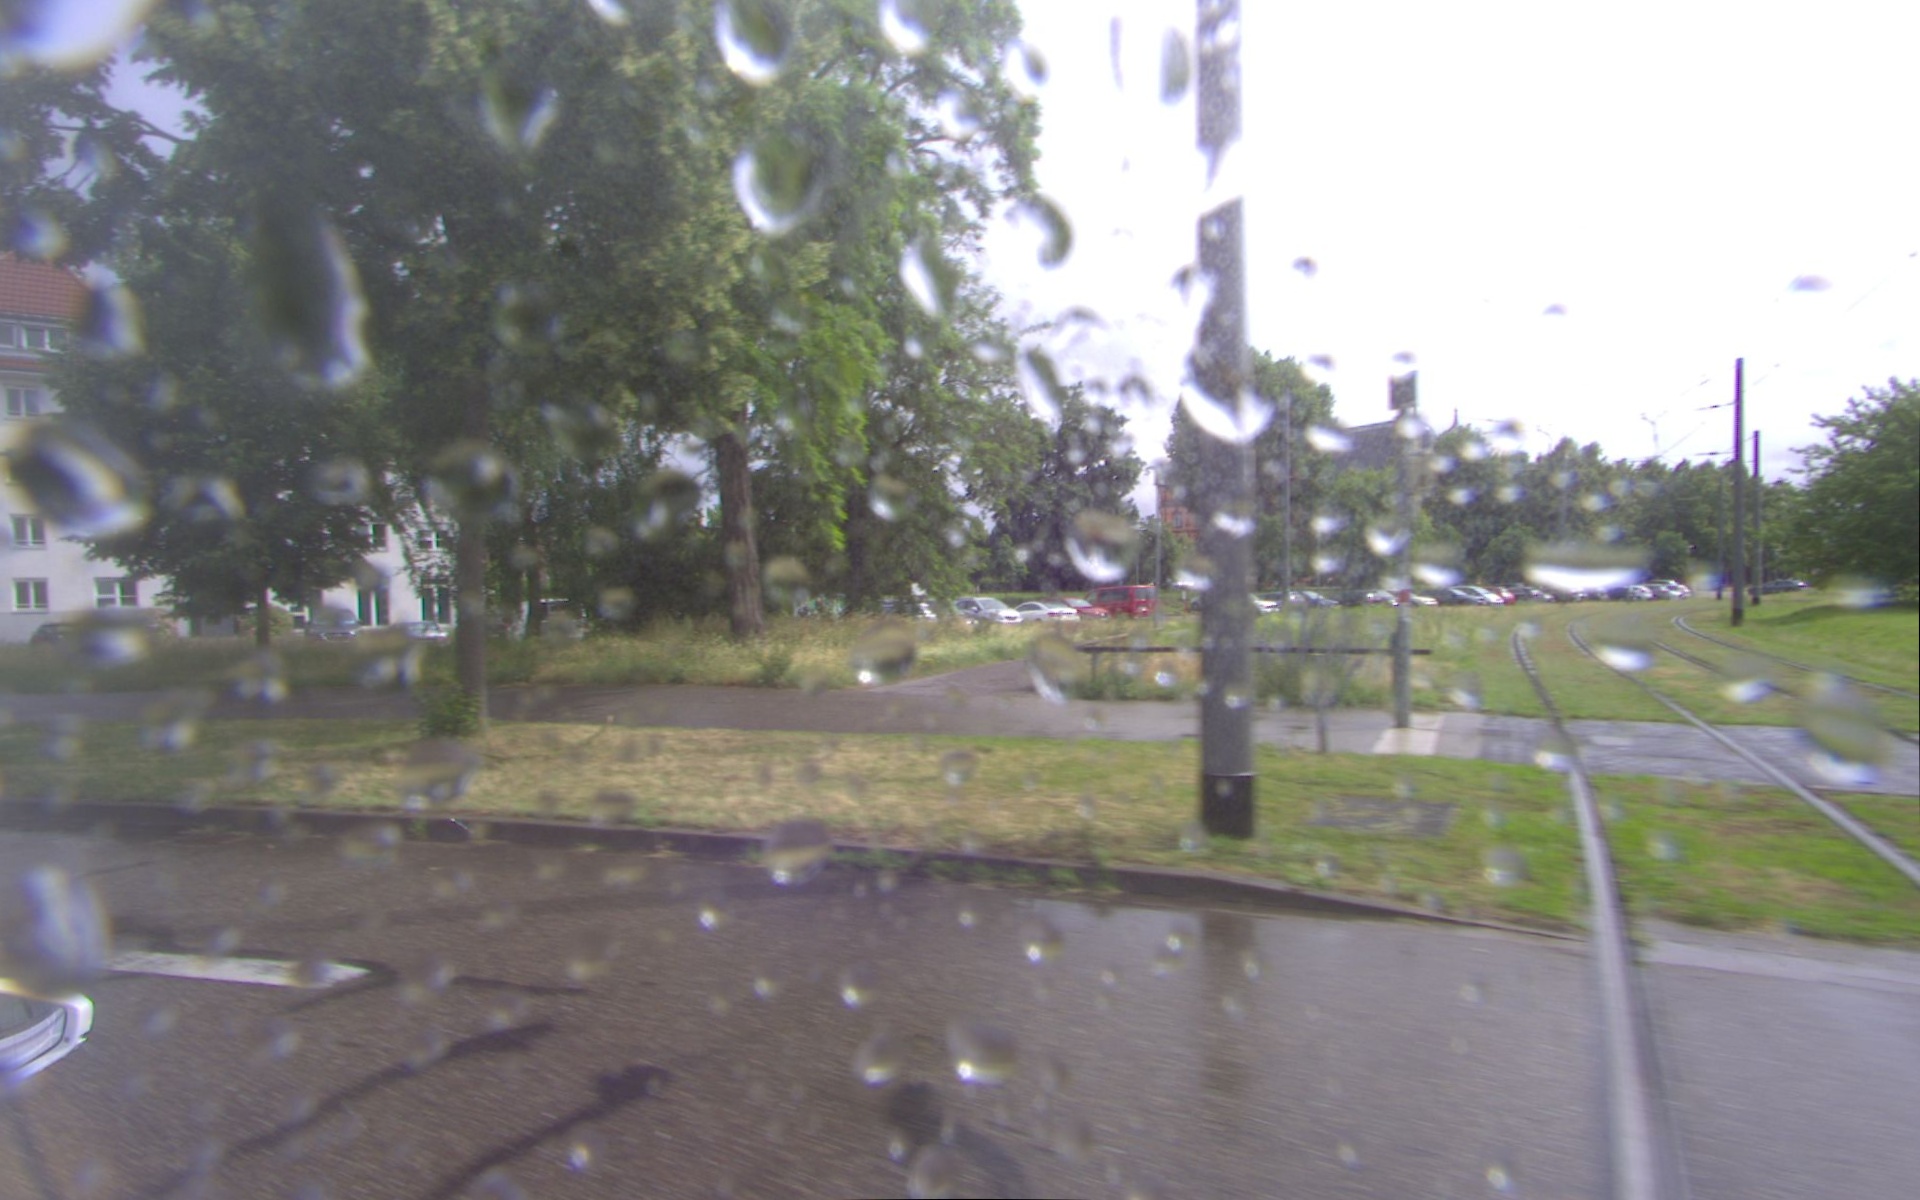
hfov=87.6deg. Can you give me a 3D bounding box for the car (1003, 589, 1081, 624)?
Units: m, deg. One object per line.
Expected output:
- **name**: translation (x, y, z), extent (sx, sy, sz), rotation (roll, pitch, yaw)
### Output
- **car**: translation (3.586, 0.270, 44.499), extent (1.623, 1.481, 3.589), rotation (-1, 0, -32)

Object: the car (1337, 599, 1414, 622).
- **car**: translation (25.106, 0.652, 60.613), extent (1.826, 1.325, 3.952), rotation (-1, 0, -35)

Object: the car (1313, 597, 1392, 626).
- **car**: translation (23.039, 0.670, 58.870), extent (1.826, 1.580, 3.952), rotation (-1, 0, -35)

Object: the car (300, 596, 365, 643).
- **car**: translation (-24.553, 0.701, 39.114), extent (1.829, 1.574, 4.074), rotation (-1, 3, -36)

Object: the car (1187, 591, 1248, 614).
- **car**: translation (18.085, 0.188, 70.508), extent (1.776, 1.548, 3.973), rotation (-1, 0, -35)

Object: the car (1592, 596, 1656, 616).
- **car**: translation (54.120, 0.479, 81.678), extent (1.826, 1.580, 3.952), rotation (-1, 0, -35)

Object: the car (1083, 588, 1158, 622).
- **car**: translation (7.575, 0.232, 47.516), extent (1.626, 1.530, 3.631), rotation (-1, 0, -30)

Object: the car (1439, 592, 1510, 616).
- **car**: translation (35.264, 0.265, 68.705), extent (1.826, 1.580, 3.952), rotation (-1, 0, -35)

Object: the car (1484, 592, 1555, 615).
- **car**: translation (39.127, 0.267, 70.105), extent (1.826, 1.580, 3.952), rotation (-1, 0, -35)

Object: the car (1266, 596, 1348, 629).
- **car**: translation (19.450, 0.709, 56.211), extent (1.973, 1.737, 3.974), rotation (-1, 0, -34)

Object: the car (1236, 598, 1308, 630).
- **car**: translation (16.997, 0.754, 54.704), extent (1.530, 1.682, 3.604), rotation (-1, 0, -35)

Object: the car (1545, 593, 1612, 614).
- **car**: translation (47.084, 0.285, 76.233), extent (1.826, 1.580, 3.952), rotation (-1, 0, -35)

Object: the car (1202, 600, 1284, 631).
- **car**: translation (15.050, 0.833, 53.412), extent (1.776, 1.548, 3.973), rotation (-1, 0, -35)

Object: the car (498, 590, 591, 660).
- **car**: translation (-13.840, 0.735, 33.160), extent (2.083, 2.086, 5.131), rotation (-2, 2, -31)

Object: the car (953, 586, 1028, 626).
- **car**: translation (1.280, 0.253, 43.730), extent (1.528, 1.681, 3.629), rotation (-1, 0, -31)

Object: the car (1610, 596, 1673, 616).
- **car**: translation (56.328, 0.535, 82.782), extent (1.826, 1.580, 3.952), rotation (-1, 0, -35)

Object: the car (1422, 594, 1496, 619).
- **car**: translation (32.839, 0.429, 65.995), extent (1.826, 1.580, 3.952), rotation (-1, 0, -35)

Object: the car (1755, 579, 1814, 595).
- **car**: translation (84.882, -1.339, 103.092), extent (1.826, 1.580, 4.374), rotation (-1, 0, -35)

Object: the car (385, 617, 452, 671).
- **car**: translation (-16.745, 1.296, 30.888), extent (1.586, 1.530, 3.600), rotation (-1, 0, -32)

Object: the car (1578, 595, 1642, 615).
- **car**: translation (52.276, 0.431, 80.632), extent (1.826, 1.580, 3.952), rotation (-1, 0, -35)

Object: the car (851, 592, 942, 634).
- **car**: translation (-2.584, 0.500, 39.977), extent (1.826, 1.580, 3.952), rotation (-1, 0, -35)

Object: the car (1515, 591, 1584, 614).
- **car**: translation (43.020, 0.181, 73.085), extent (1.826, 1.580, 3.952), rotation (-1, 0, -35)

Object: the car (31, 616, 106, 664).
- **car**: translation (-30.853, 1.341, 34.733), extent (1.656, 1.502, 3.710), rotation (-1, 1, -38)

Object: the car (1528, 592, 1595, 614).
- **car**: translation (45.048, 0.231, 75.021), extent (1.826, 1.580, 3.952), rotation (-1, 0, -35)

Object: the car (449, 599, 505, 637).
- **car**: translation (-20.483, 0.729, 42.414), extent (1.641, 1.364, 3.556), rotation (-1, 3, -34)

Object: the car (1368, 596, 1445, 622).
- **car**: translation (27.554, 0.556, 61.884), extent (1.826, 1.580, 3.952), rotation (-1, 0, -35)

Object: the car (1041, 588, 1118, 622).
- **car**: translation (5.475, 0.211, 46.161), extent (1.623, 1.481, 3.589), rotation (-1, 0, -32)
